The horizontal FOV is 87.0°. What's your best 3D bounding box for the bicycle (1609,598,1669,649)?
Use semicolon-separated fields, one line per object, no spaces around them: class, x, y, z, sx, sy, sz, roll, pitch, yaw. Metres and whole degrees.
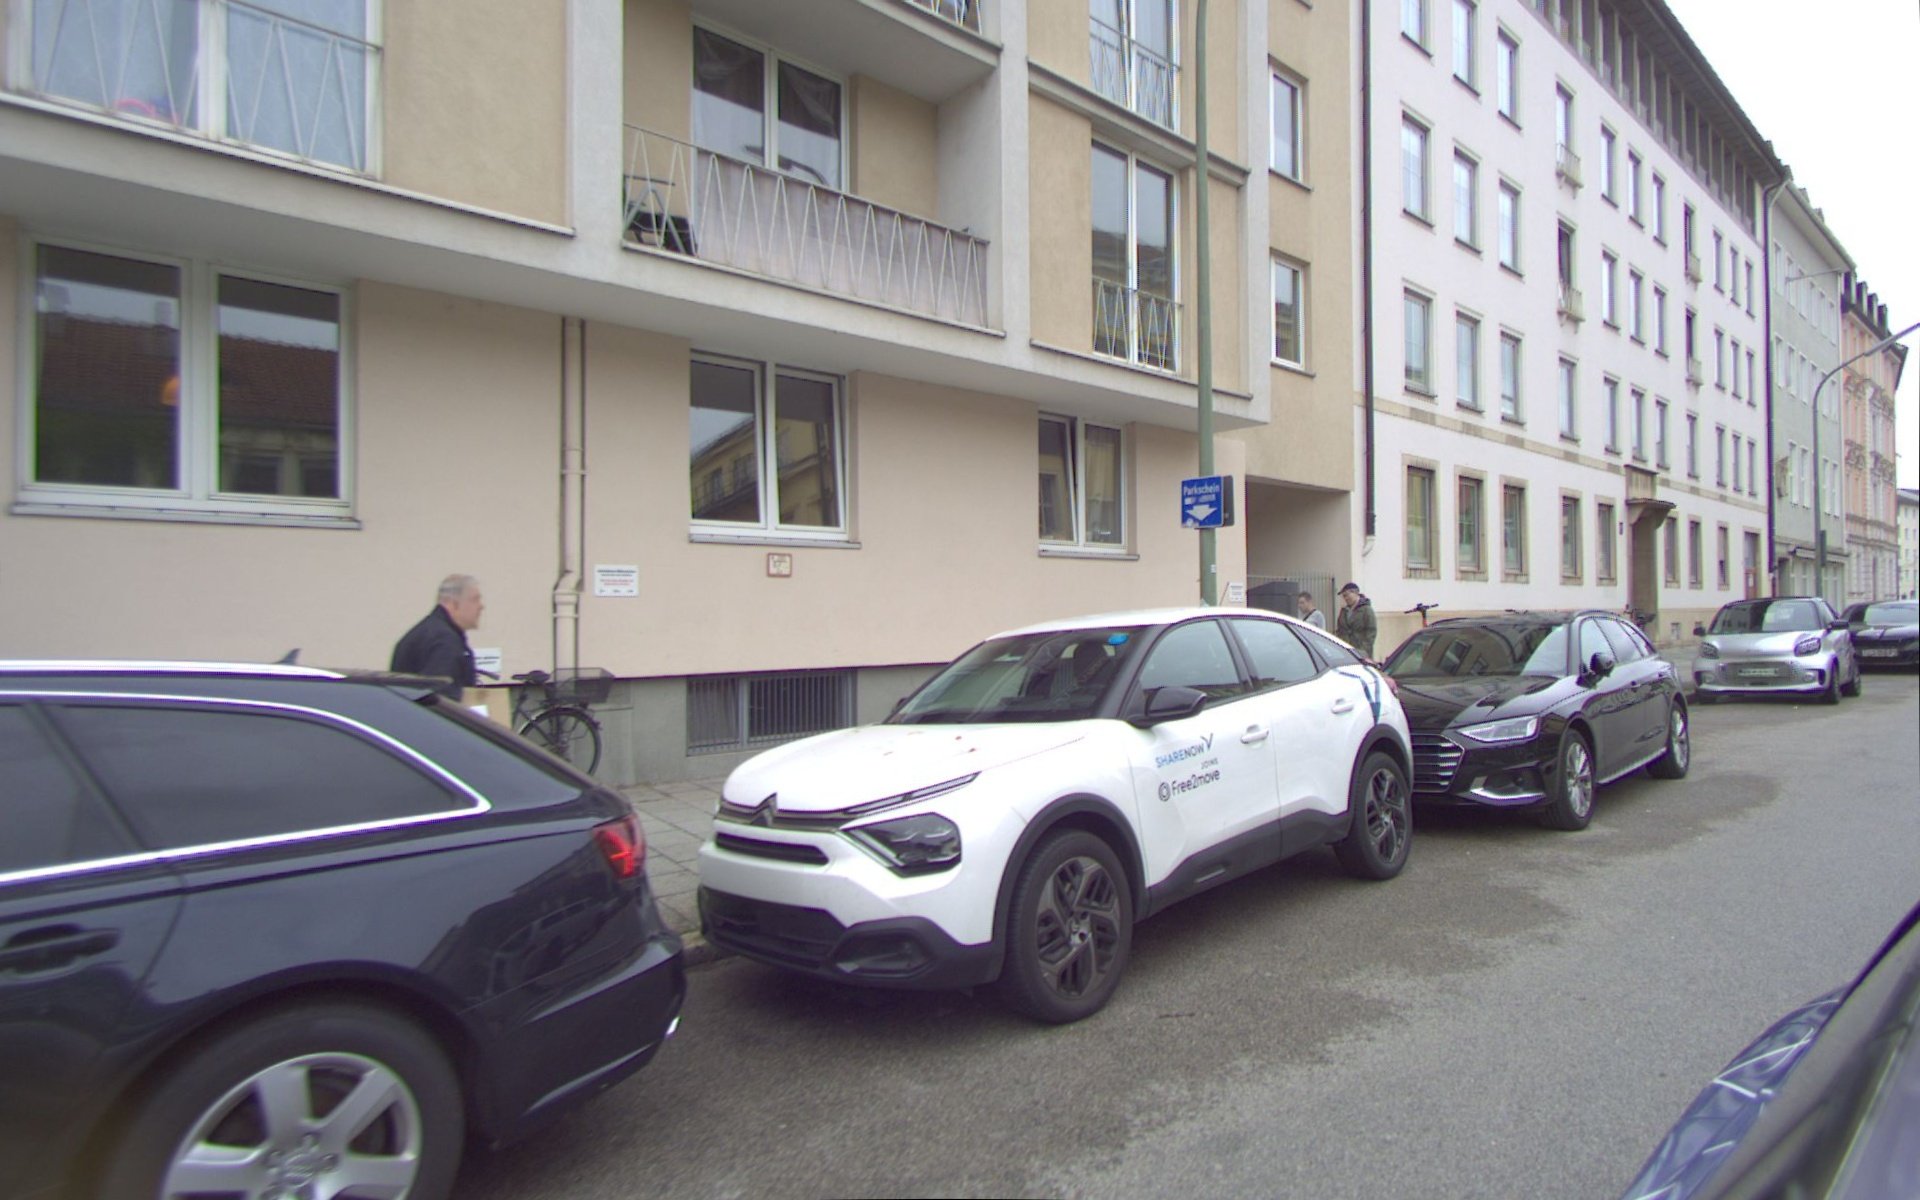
bicycle;16.053;0.529;23.906;1.992;1.140;0.660;0;1;-41

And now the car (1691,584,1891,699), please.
car;12.864;0.598;15.602;3.813;1.555;1.674;0;-3;-41

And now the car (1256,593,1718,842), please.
car;4.360;0.721;8.025;4.406;1.439;1.797;0;-3;-43

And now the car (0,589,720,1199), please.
car;-2.894;0.794;1.942;4.416;1.519;1.741;-1;-3;-41

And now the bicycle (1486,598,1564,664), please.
bicycle;10.745;0.559;19.217;1.992;1.178;0.660;0;1;-41

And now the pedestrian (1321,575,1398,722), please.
pedestrian;4.762;0.549;12.063;0.619;1.674;0.598;0;2;-41

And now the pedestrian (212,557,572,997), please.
pedestrian;-2.618;0.675;4.698;1.297;1.709;0.899;0;0;-42

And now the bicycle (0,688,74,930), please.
bicycle;-4.819;0.972;4.455;1.377;1.036;0.484;0;1;-41

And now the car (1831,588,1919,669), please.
car;20.187;0.554;21.578;4.734;1.564;1.857;0;-2;-42

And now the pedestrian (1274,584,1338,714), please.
pedestrian;4.429;0.601;12.965;0.550;1.604;0.532;0;2;-41

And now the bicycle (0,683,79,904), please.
bicycle;-5.139;0.974;4.852;1.377;1.036;0.390;0;1;-41

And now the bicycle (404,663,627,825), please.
bicycle;-3.097;0.963;7.123;1.377;0.947;0.445;0;1;-41

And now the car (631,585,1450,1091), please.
car;0.702;0.742;5.116;4.148;1.519;1.740;-1;-3;-43

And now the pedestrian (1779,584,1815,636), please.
pedestrian;26.825;0.316;32.420;0.813;1.646;0.736;0;1;-40

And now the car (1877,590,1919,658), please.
car;24.277;0.555;25.016;4.196;1.605;1.781;0;-2;-40

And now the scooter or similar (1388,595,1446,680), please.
scooter or similar;7.437;0.591;16.460;0.598;1.267;1.024;1;4;41

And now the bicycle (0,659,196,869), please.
bicycle;-5.058;0.886;5.539;1.377;1.036;0.390;0;1;-41

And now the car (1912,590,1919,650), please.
car;28.041;0.519;28.079;4.252;1.605;1.782;0;-2;-39
